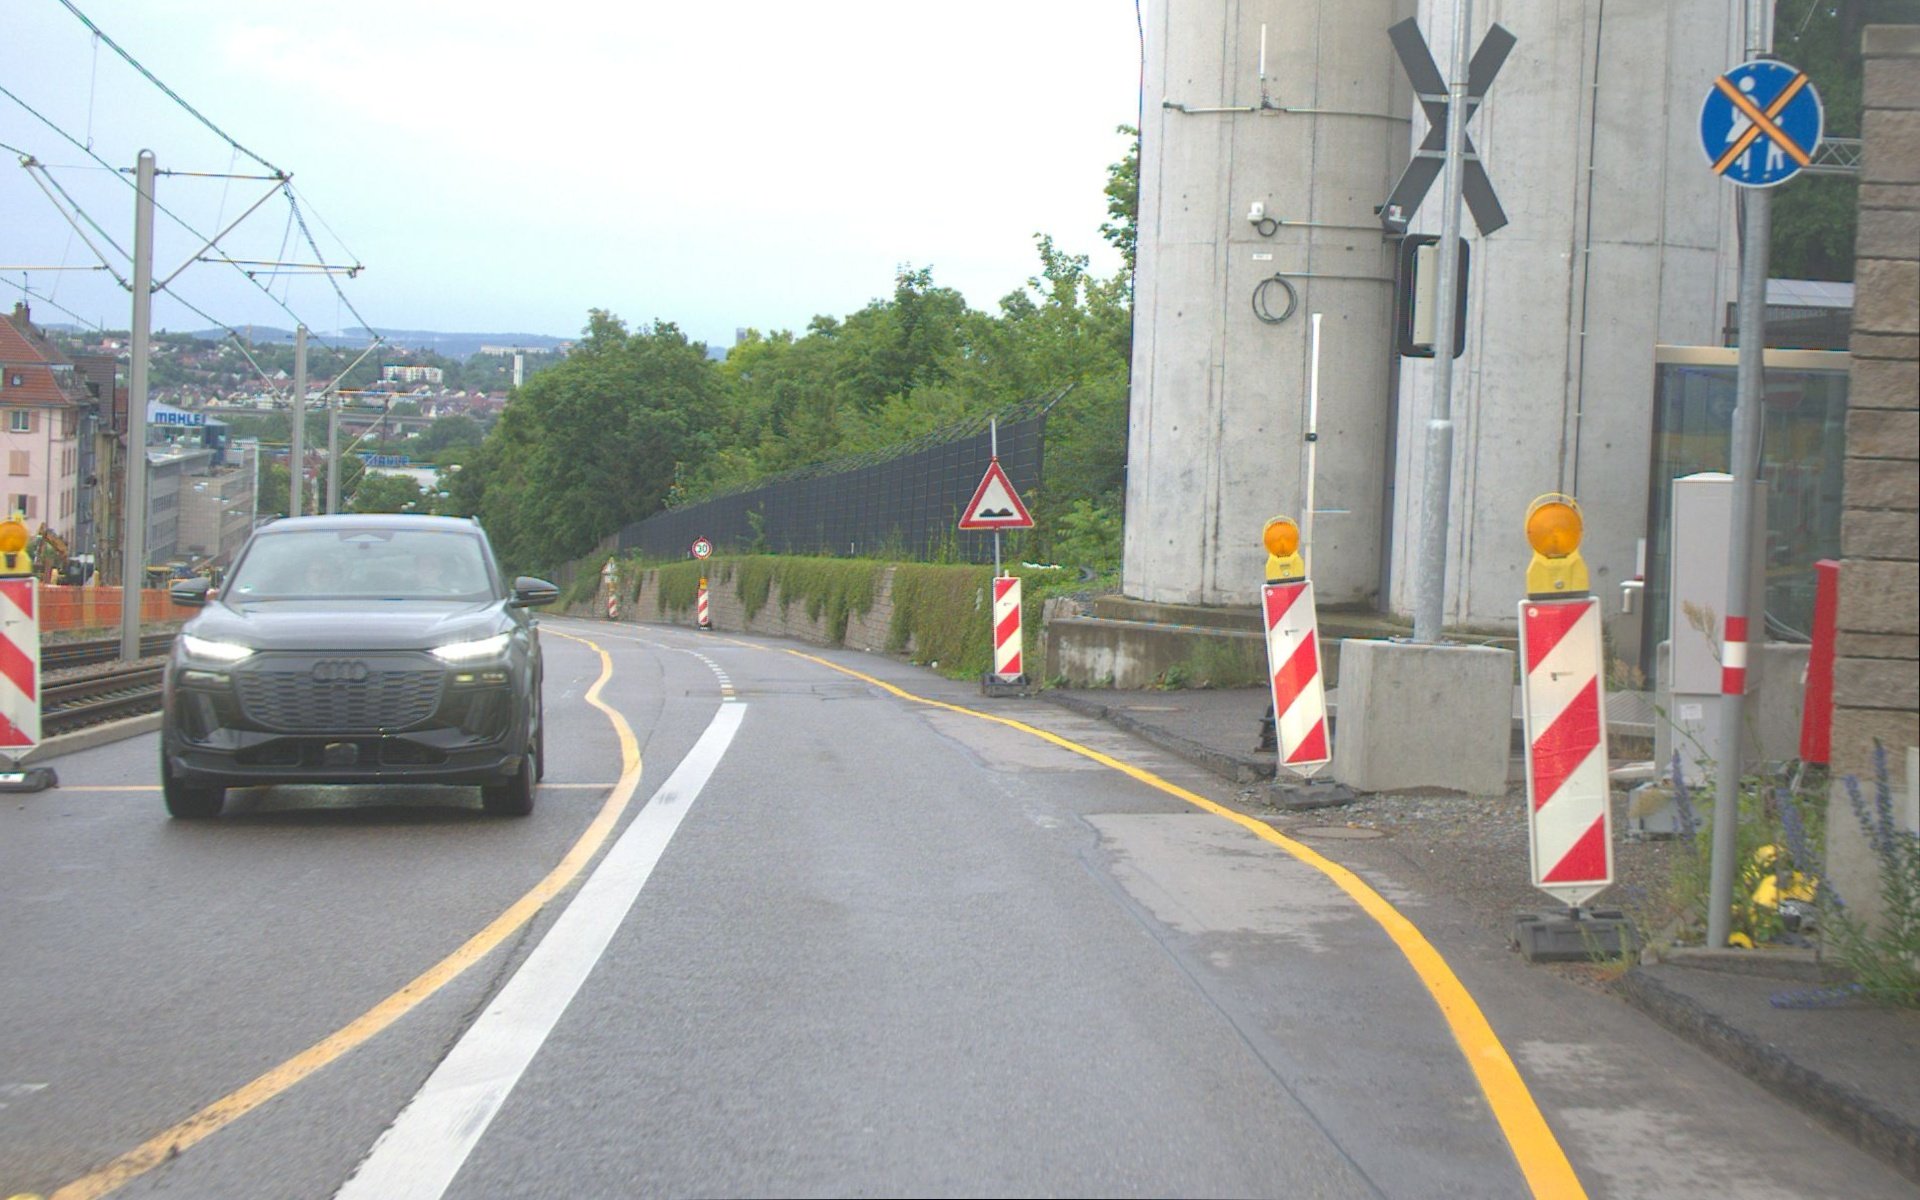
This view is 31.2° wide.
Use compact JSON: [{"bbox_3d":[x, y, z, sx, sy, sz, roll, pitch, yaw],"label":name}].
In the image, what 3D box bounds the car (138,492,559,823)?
[{"bbox_3d":[-3.393,0.247,19.871,1.993,1.672,4.490,1,1,-5],"label":"car"}]
